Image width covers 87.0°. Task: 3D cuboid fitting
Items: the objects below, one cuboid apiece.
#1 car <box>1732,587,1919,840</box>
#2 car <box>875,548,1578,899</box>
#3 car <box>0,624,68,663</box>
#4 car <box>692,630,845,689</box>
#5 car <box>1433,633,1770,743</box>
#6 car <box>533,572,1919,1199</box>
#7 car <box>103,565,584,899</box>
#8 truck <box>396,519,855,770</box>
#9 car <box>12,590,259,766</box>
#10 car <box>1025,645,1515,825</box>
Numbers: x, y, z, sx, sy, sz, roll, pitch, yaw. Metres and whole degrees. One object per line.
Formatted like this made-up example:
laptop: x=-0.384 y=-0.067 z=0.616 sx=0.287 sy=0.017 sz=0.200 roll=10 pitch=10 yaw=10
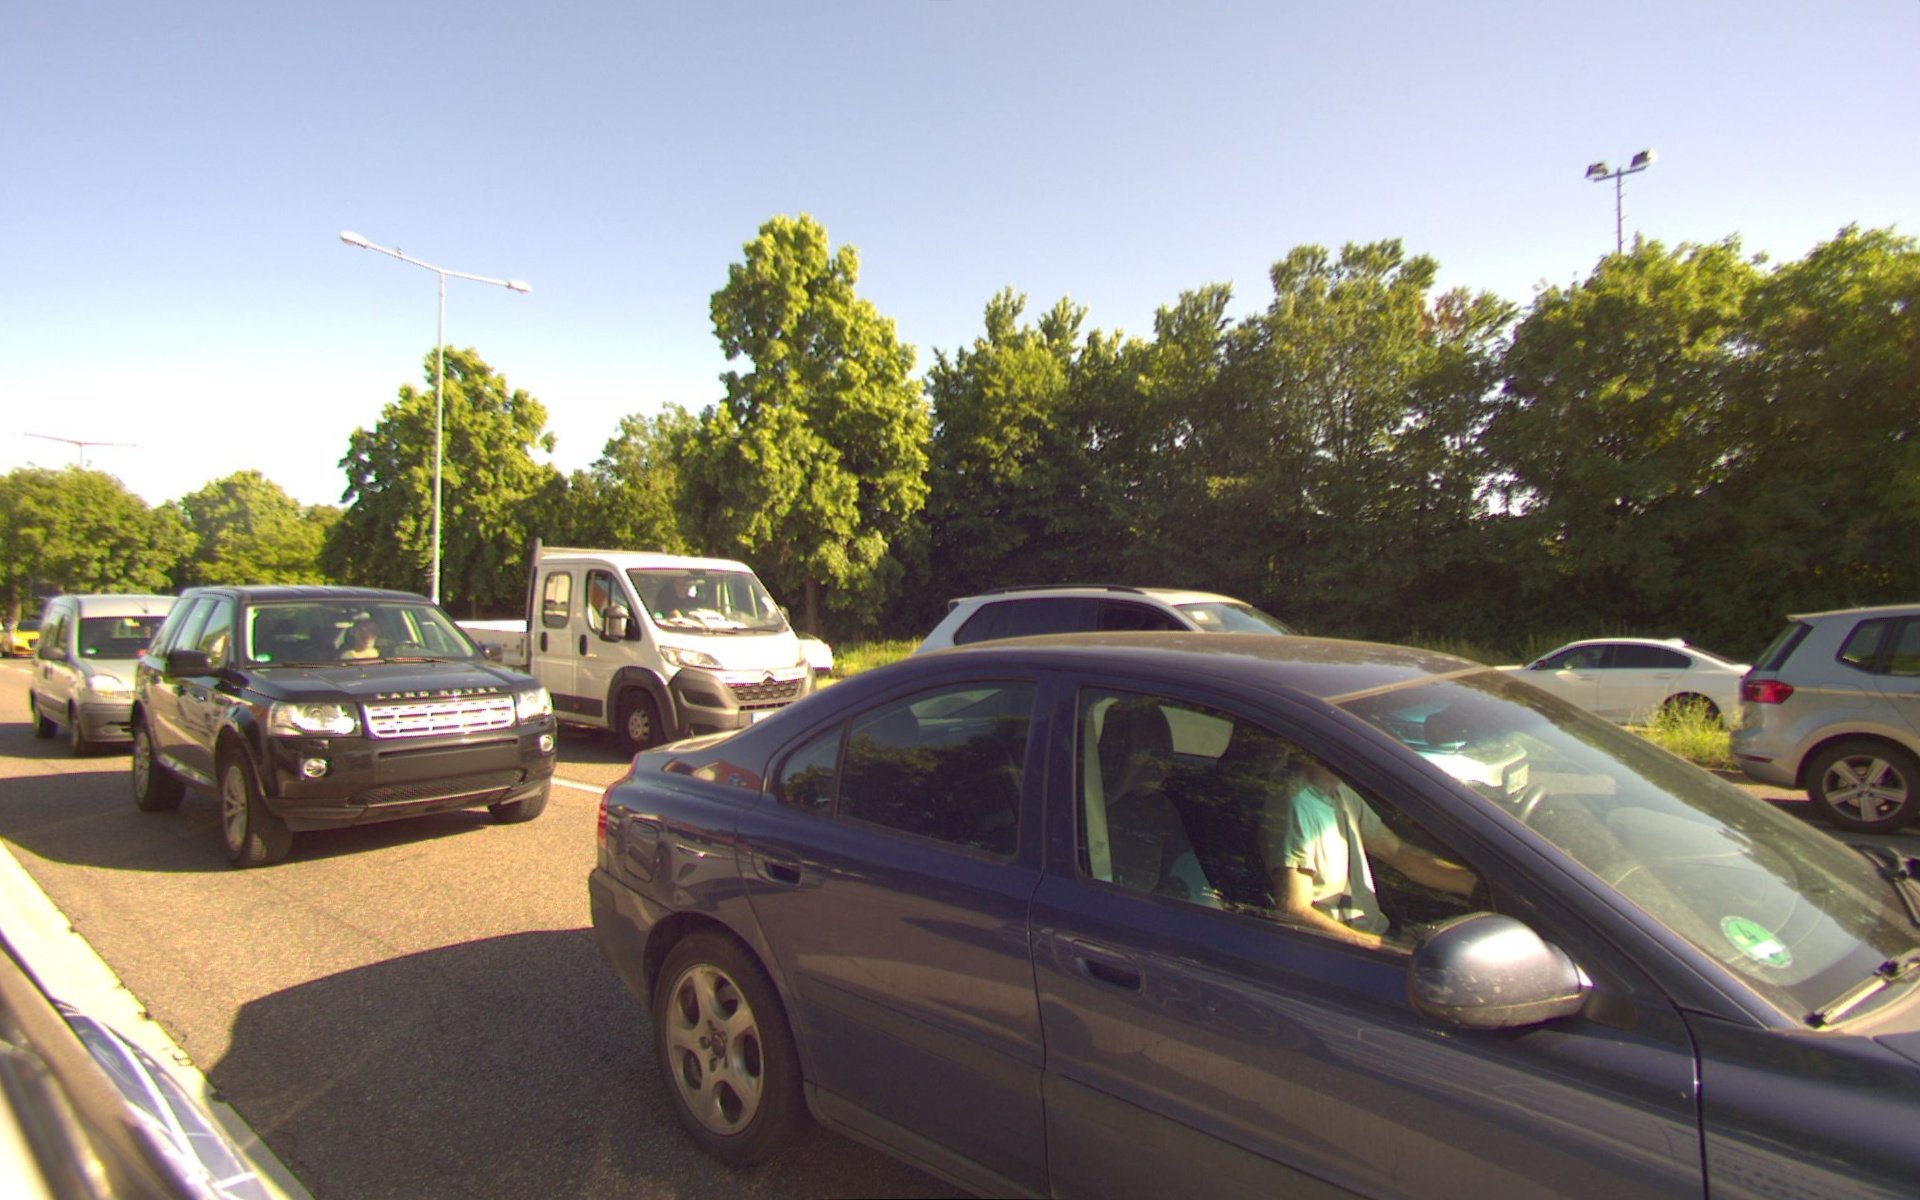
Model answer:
car: x=7.625 y=0.732 z=6.415 sx=4.206 sy=1.623 sz=1.811 roll=-2 pitch=-3 yaw=42
car: x=1.643 y=0.679 z=7.193 sx=4.422 sy=1.723 sz=1.973 roll=-2 pitch=-3 yaw=41
car: x=-37.178 y=1.705 z=40.526 sx=3.929 sy=1.486 sz=1.682 roll=-2 pitch=-2 yaw=41
car: x=-5.463 y=1.620 z=28.566 sx=4.501 sy=1.536 sz=1.869 roll=-2 pitch=-3 yaw=41
car: x=9.795 y=1.257 z=15.655 sx=4.218 sy=1.467 sz=1.624 roll=-2 pitch=-3 yaw=41
car: x=0.886 y=0.702 z=2.425 sx=4.454 sy=1.463 sz=1.757 roll=-1 pitch=0 yaw=41
car: x=-4.701 y=0.714 z=7.420 sx=4.384 sy=1.744 sz=1.793 roll=-1 pitch=-1 yaw=41
truck: x=-4.442 y=0.452 z=12.476 sx=6.838 sy=2.337 sz=2.158 roll=-1 pitch=-1 yaw=40
car: x=-10.059 y=0.810 z=12.221 sx=4.384 sy=1.765 sz=1.611 roll=-1 pitch=-1 yaw=41
car: x=3.024 y=1.204 z=10.542 sx=4.550 sy=1.440 sz=1.811 roll=-2 pitch=-3 yaw=41
